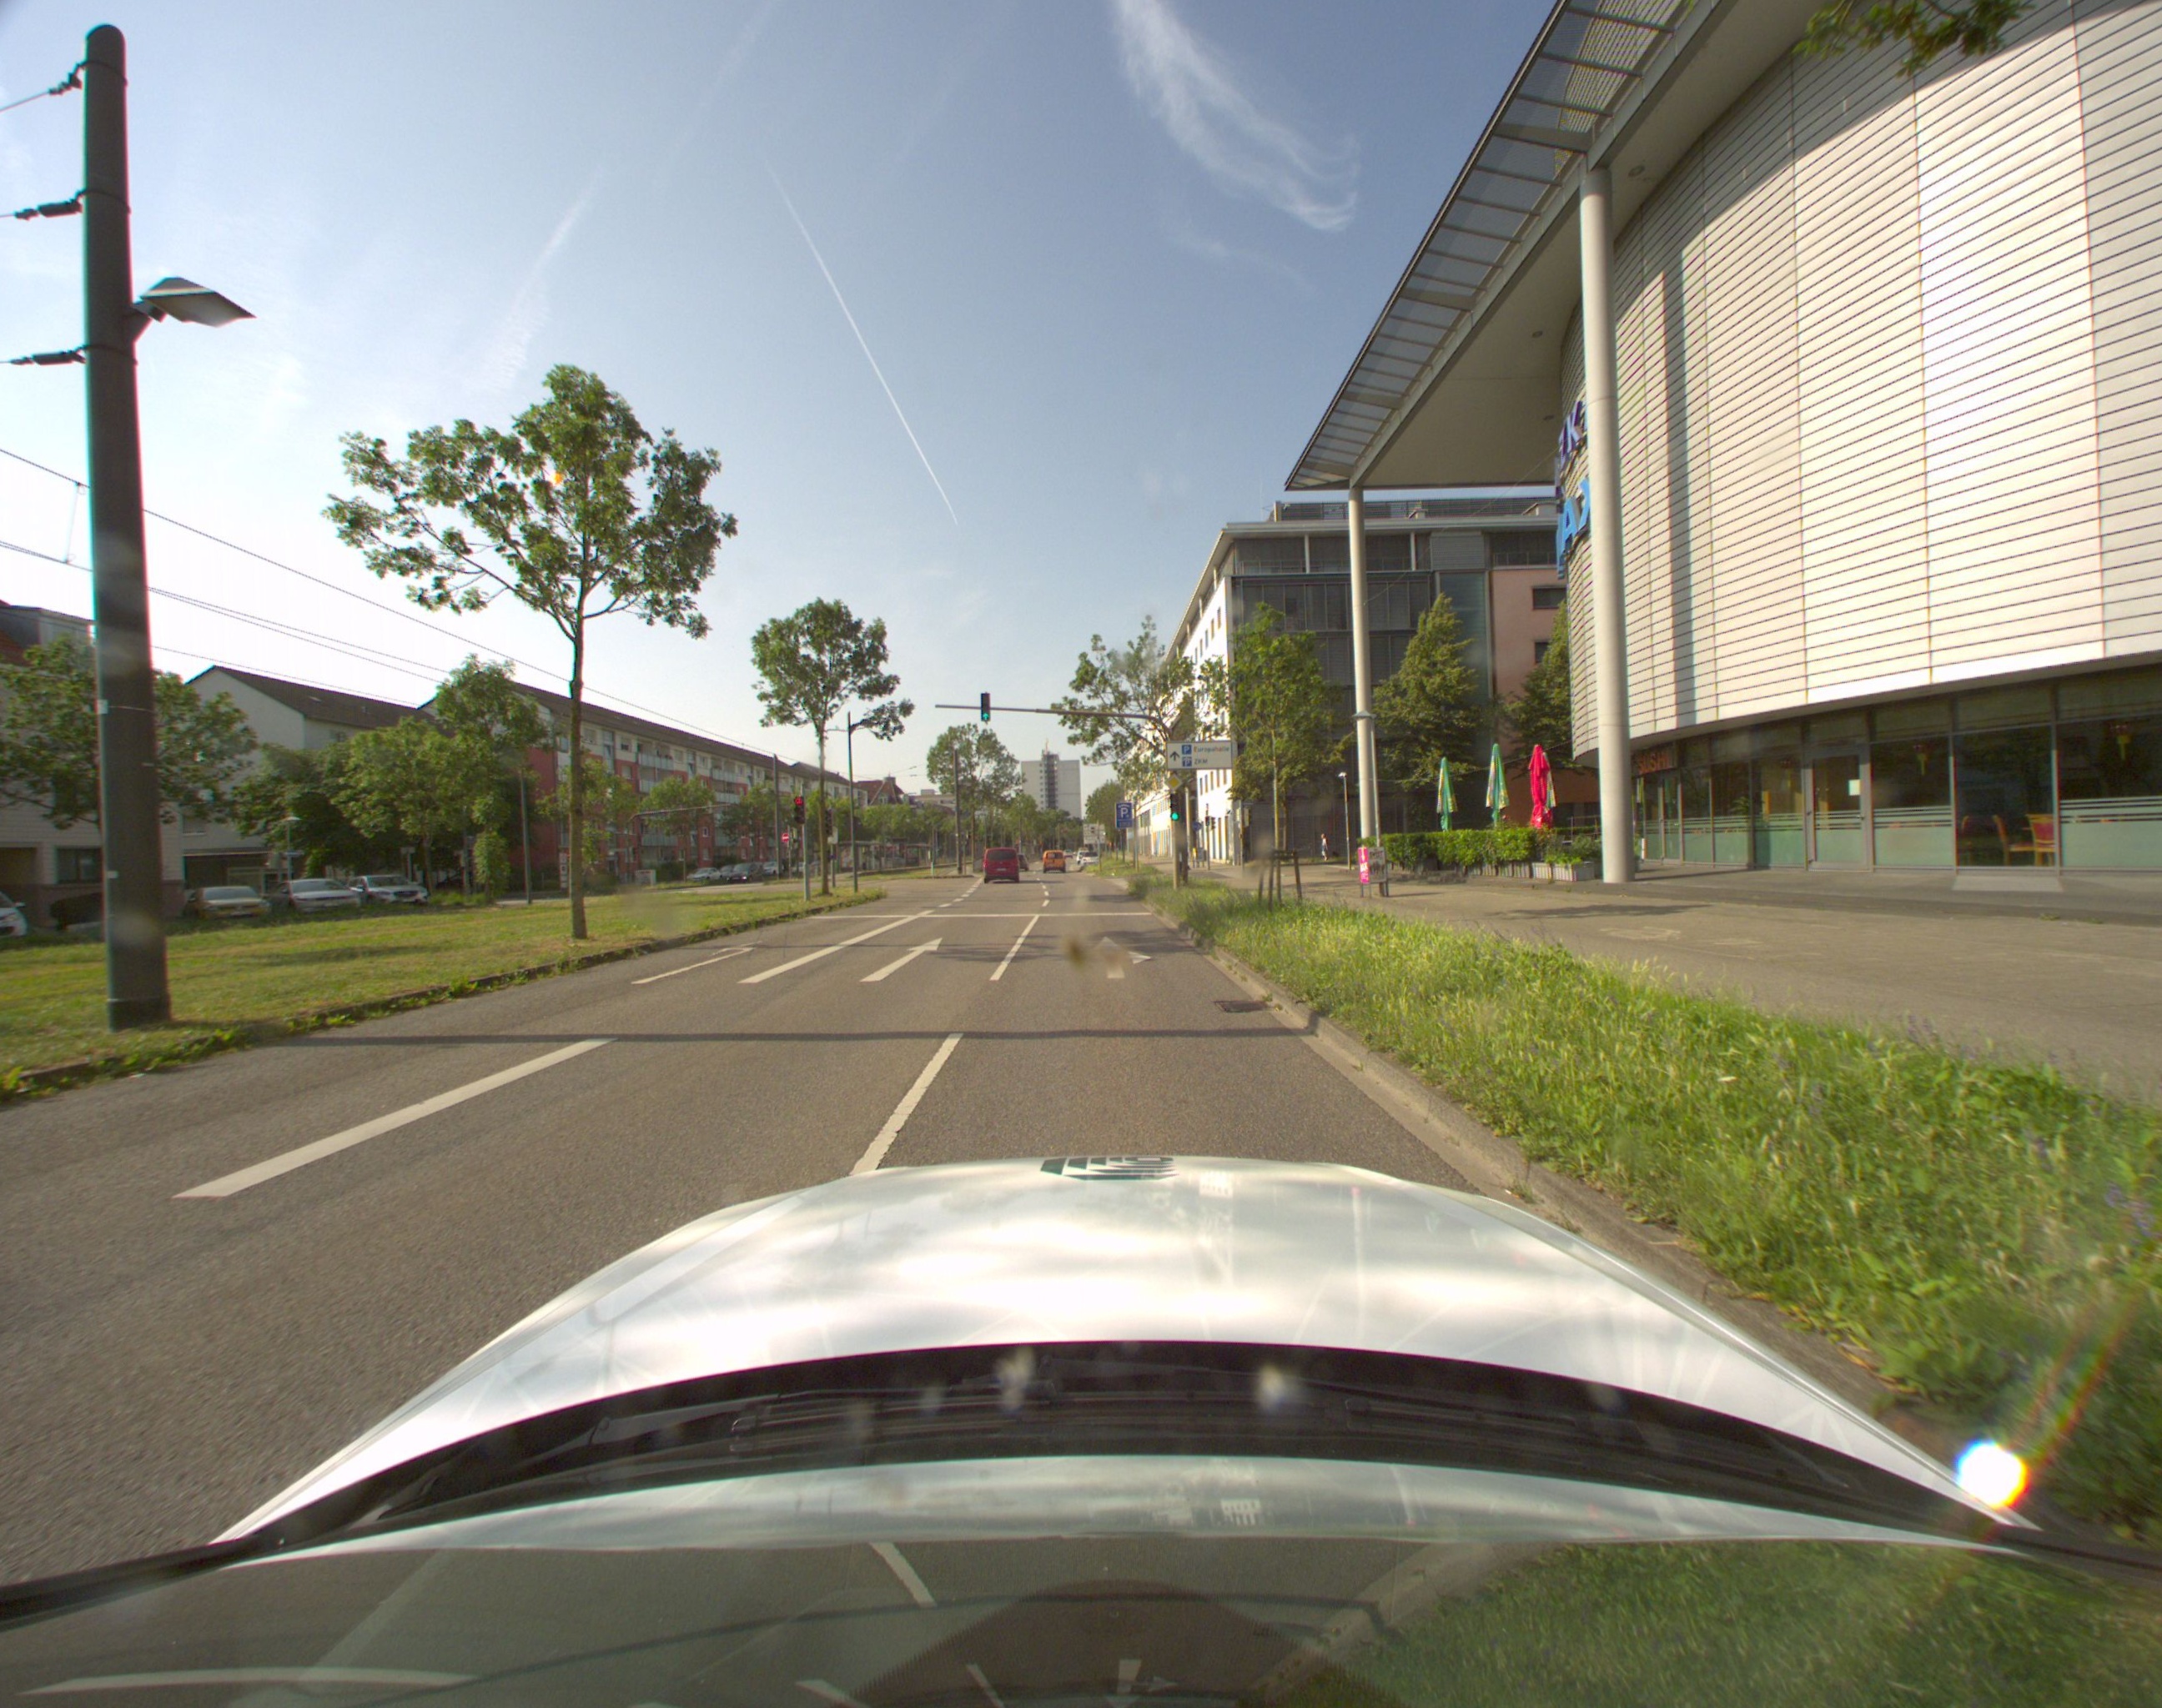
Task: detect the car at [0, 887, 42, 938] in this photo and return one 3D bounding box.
[{"bbox_3d":[-30.332,1.603,22.201,3.949,1.269,1.898,0,0,29],"label":"car"}]

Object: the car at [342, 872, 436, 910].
[{"bbox_3d":[-30.219,1.562,35.545,4.297,1.463,1.976,0,0,33],"label":"car"}]

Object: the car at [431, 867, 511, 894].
[{"bbox_3d":[-42.458,1.827,56.776,3.973,1.695,2.000,-2,0,0],"label":"car"}]

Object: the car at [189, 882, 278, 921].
[{"bbox_3d":[-30.668,1.679,29.450,3.949,1.178,2.012,0,0,41],"label":"car"}]

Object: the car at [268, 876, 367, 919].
[{"bbox_3d":[-29.943,1.662,31.913,4.407,1.514,2.013,-2,0,36],"label":"car"}]

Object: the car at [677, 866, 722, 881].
[{"bbox_3d":[-32.300,1.657,69.068,1.828,1.147,4.163,0,0,-1],"label":"car"}]

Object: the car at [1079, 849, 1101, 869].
[{"bbox_3d":[0.705,0.399,68.041,1.715,1.519,3.779,-2,0,-1],"label":"car"}]

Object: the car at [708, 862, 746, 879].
[{"bbox_3d":[-32.528,1.457,74.917,1.828,1.471,3.825,0,0,-1],"label":"car"}]

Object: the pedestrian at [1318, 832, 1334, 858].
[{"bbox_3d":[15.328,-0.557,50.964,0.775,1.616,0.713,-2,0,-2],"label":"pedestrian"}]

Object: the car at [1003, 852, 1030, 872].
[{"bbox_3d":[-5.605,0.678,71.028,1.987,1.706,3.999,-2,0,0],"label":"car"}]

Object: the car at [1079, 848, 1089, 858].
[{"bbox_3d":[0.569,-0.166,158.030,1.987,2.013,3.999,0,0,0],"label":"car"}]

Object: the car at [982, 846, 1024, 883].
[{"bbox_3d":[-4.160,0.549,43.948,1.869,1.853,3.998,-2,0,-1],"label":"car"}]

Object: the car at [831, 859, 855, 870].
[{"bbox_3d":[-31.975,1.383,109.511,1.975,1.360,4.068,0,0,-1],"label":"car"}]

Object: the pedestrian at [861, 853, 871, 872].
[{"bbox_3d":[-19.408,0.769,73.390,0.670,1.653,0.793,-2,0,-5],"label":"pedestrian"}]

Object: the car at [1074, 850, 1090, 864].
[{"bbox_3d":[0.116,0.304,94.111,1.683,1.526,3.850,-4,0,0],"label":"car"}]

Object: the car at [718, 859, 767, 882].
[{"bbox_3d":[-28.016,1.330,67.539,1.987,1.706,4.713,-2,0,1],"label":"car"}]

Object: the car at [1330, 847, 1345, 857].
[{"bbox_3d":[16.106,-0.133,51.172,0.763,0.587,0.498,-2,0,-2],"label":"car"}]

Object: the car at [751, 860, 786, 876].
[{"bbox_3d":[-32.534,1.437,84.930,1.975,1.556,4.535,0,0,-1],"label":"car"}]

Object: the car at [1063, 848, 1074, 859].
[{"bbox_3d":[-2.470,-0.063,156.791,1.988,2.013,3.998,-2,0,-1],"label":"car"}]

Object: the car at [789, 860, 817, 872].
[{"bbox_3d":[-32.346,1.415,94.815,1.975,1.360,4.068,0,0,-1],"label":"car"}]

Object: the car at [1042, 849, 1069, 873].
[{"bbox_3d":[-1.903,0.482,62.275,1.869,1.696,3.974,-2,0,0],"label":"car"}]

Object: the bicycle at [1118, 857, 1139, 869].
[{"bbox_3d":[3.126,0.577,53.798,1.264,0.632,0.522,-8,-1,6],"label":"bicycle"}]
